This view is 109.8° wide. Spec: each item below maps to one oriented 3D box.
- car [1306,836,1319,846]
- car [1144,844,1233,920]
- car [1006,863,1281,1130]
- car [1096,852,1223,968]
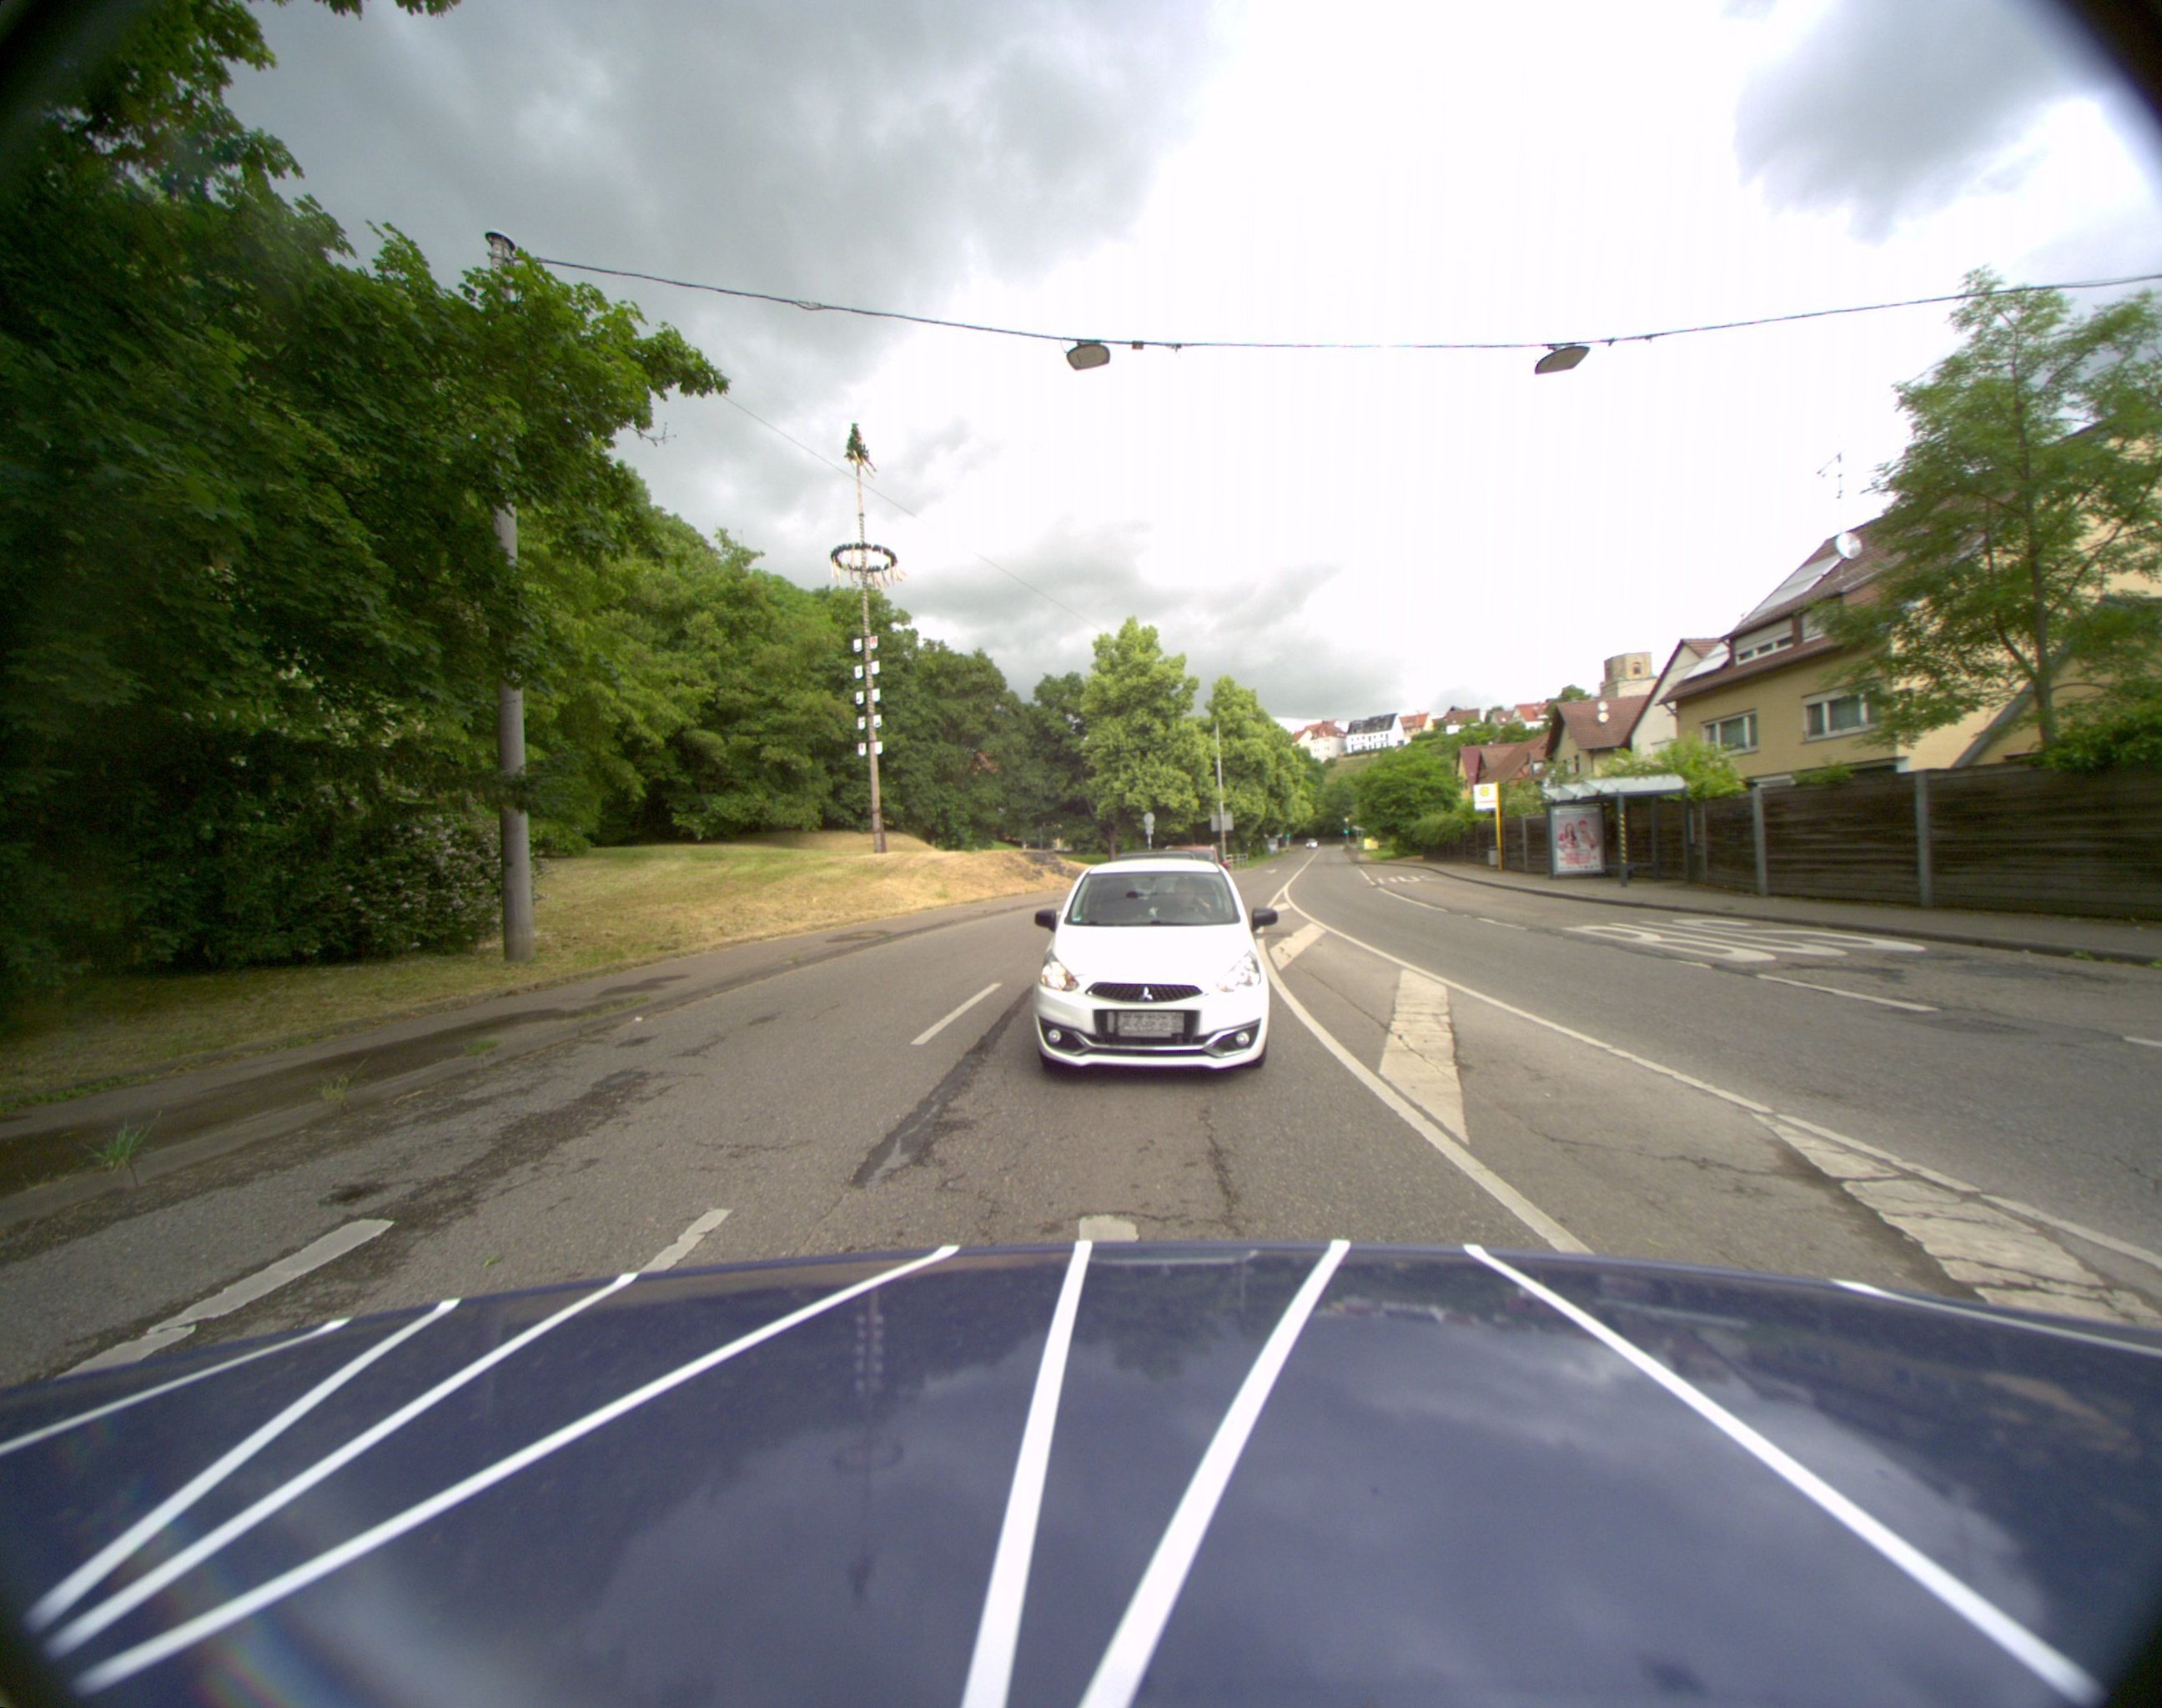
[{"bbox_3d":[40.632,-2.231,133.268,1.844,1.630,4.003,-2,1,13],"label":"car"},{"bbox_3d":[2.859,0.629,19.457,1.826,1.662,4.061,-2,1,13],"label":"car"},{"bbox_3d":[0.641,0.907,6.428,1.617,1.505,3.607,-2,1,9],"label":"car"},{"bbox_3d":[1.395,0.792,12.585,1.723,1.539,3.784,-2,1,9],"label":"car"}]
